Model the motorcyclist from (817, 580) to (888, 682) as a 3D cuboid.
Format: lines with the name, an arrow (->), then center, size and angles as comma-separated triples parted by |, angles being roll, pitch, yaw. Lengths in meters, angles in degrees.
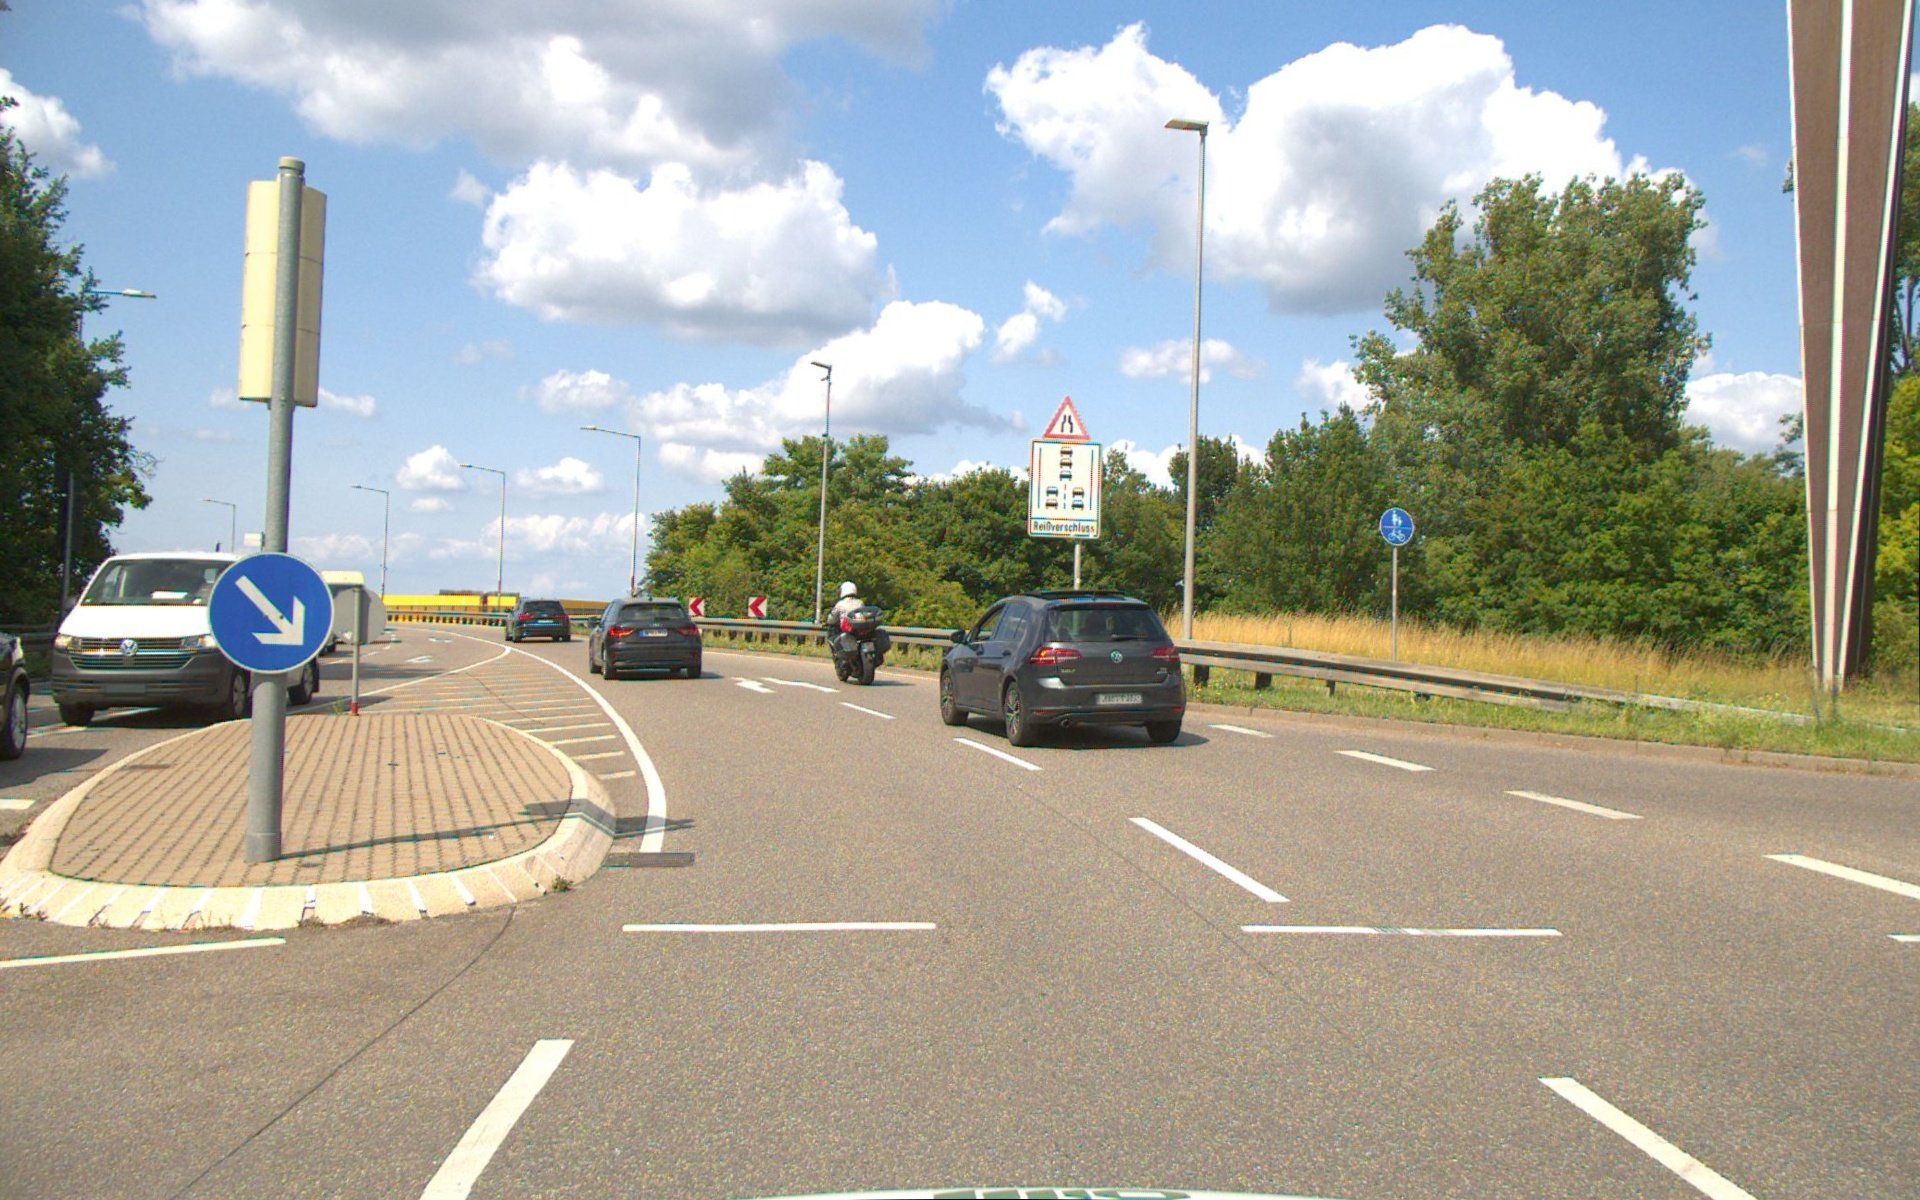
motorcyclist -> -1.801, 0.519, 27.545 | 0.950, 1.649, 1.120 | 1, -1, -16

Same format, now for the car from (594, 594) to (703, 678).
car -> -5.695, 0.645, 29.967 | 1.654, 1.412, 3.723 | 0, -1, -16

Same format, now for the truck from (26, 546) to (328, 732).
truck -> -9.271, 0.419, 20.120 | 1.925, 1.946, 5.357 | 0, 0, -10

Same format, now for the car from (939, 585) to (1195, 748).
car -> 0.995, 0.649, 17.361 | 1.614, 1.505, 3.858 | 1, -1, -14

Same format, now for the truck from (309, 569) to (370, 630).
truck -> -28.822, -0.027, 76.701 | 1.970, 2.666, 6.050 | -1, 0, -27

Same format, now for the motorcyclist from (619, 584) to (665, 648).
motorcyclist -> -8.275, 0.418, 43.033 | 0.953, 1.624, 1.117 | 1, -1, -23

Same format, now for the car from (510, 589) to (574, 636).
car -> -14.076, 0.423, 55.565 | 1.619, 1.505, 3.847 | 1, -1, -21

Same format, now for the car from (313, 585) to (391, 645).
car -> -20.474, 0.481, 55.872 | 1.960, 1.947, 5.113 | 0, 0, -14

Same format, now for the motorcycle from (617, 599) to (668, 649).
motorcycle -> -8.286, 0.616, 43.106 | 0.875, 1.269, 2.384 | 1, -1, -21

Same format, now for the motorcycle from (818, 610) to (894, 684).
motorcycle -> -1.741, 0.754, 27.347 | 0.776, 1.152, 2.389 | 1, -1, -15

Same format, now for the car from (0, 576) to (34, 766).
car -> -8.595, 0.588, 12.879 | 1.671, 1.584, 3.802 | 0, 0, -18
